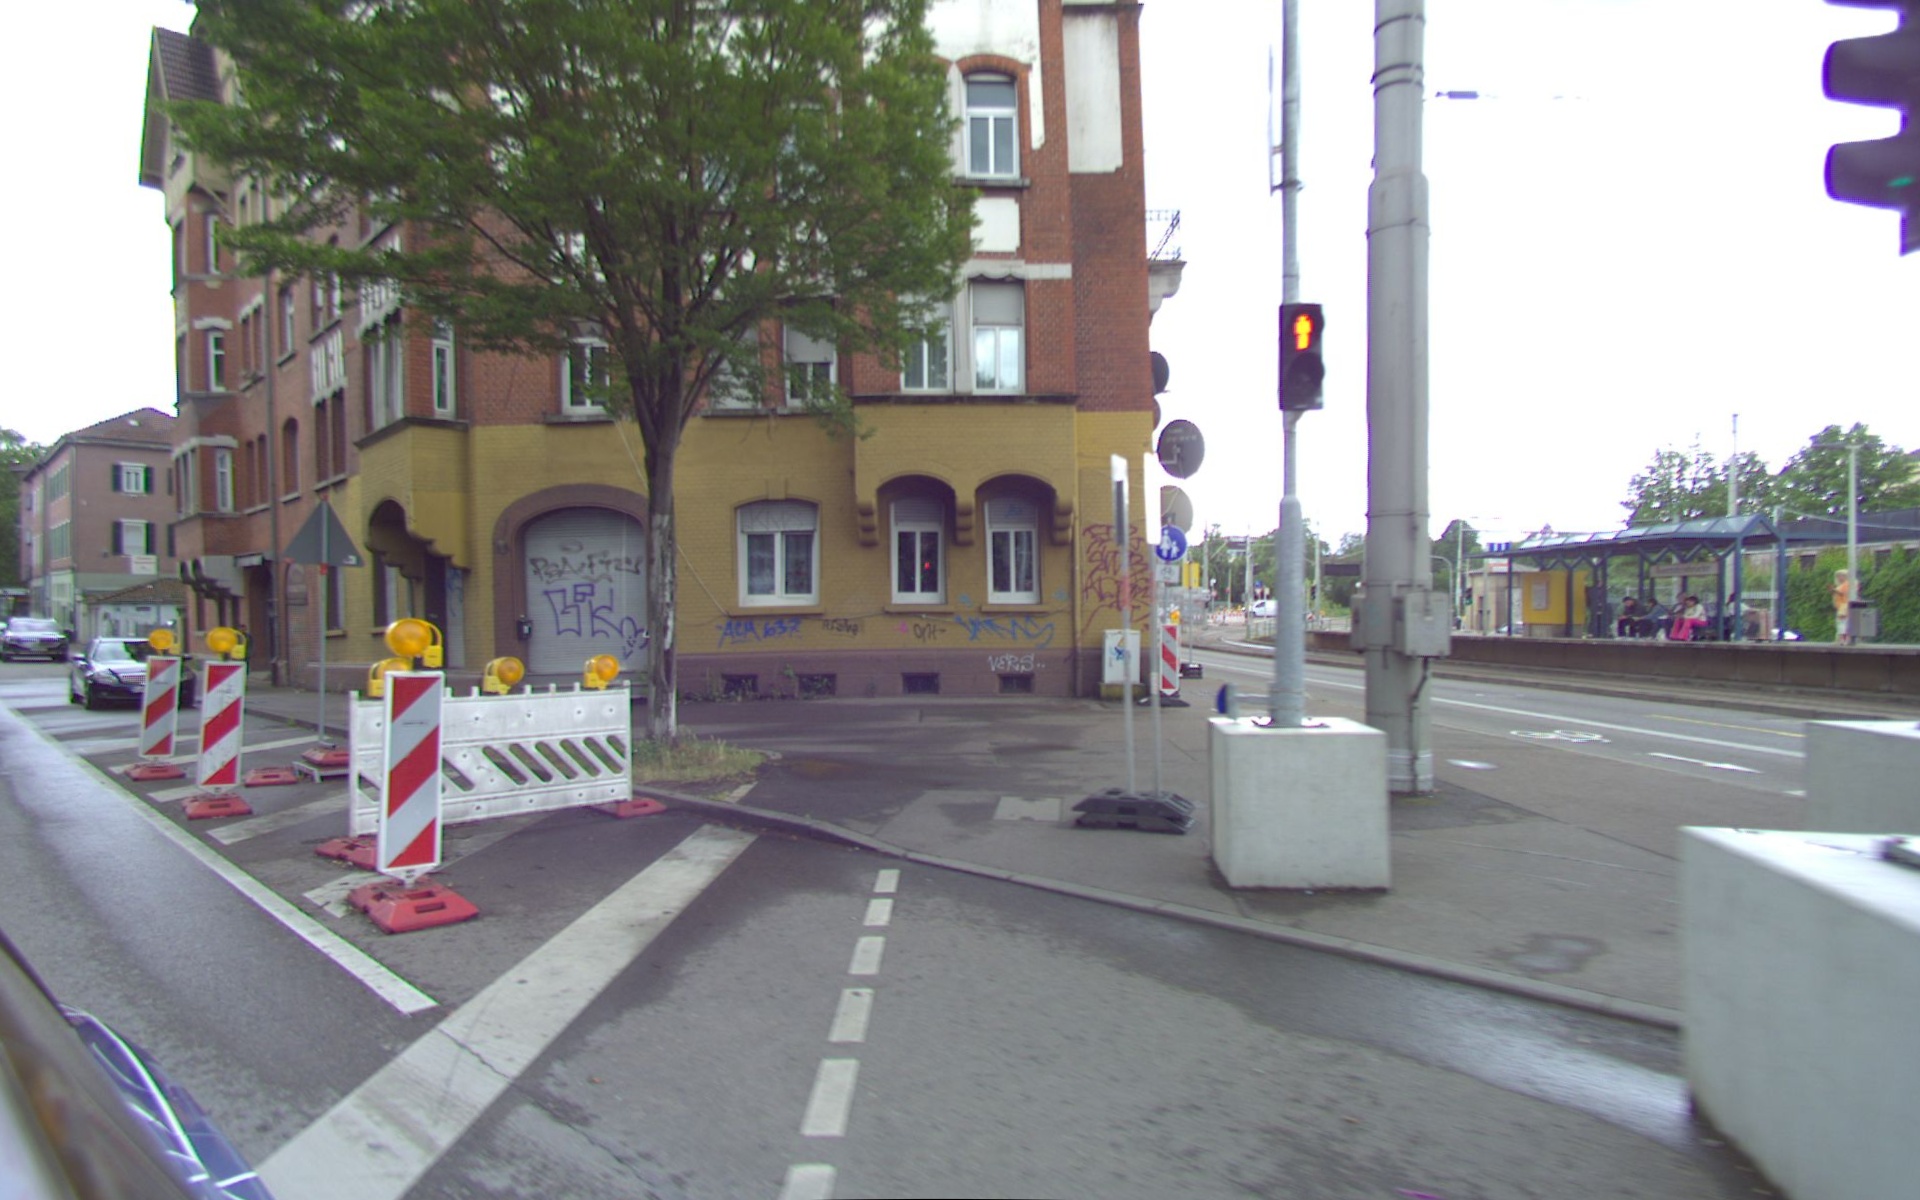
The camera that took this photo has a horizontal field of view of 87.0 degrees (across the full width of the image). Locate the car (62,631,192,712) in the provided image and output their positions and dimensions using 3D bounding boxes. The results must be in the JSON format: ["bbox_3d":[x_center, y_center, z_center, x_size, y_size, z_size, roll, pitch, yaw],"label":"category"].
[{"bbox_3d":[-17.757,1.486,21.500,4.392,1.497,1.705,-4,-2,45],"label":"car"}]

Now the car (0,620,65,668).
[{"bbox_3d":[-36.550,1.686,39.570,4.774,1.747,1.932,-2,-1,44],"label":"car"}]

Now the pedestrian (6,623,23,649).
[{"bbox_3d":[-66.621,2.527,71.296,0.984,1.757,0.753,-3,0,41],"label":"pedestrian"}]

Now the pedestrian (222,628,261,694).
[{"bbox_3d":[-18.245,1.537,25.707,0.632,1.621,0.652,-2,0,44],"label":"pedestrian"}]

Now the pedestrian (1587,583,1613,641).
[{"bbox_3d":[18.436,0.340,29.157,0.587,1.653,0.482,1,-1,-44],"label":"pedestrian"}]

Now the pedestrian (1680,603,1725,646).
[{"bbox_3d":[17.496,0.579,23.859,0.653,0.986,0.514,1,-2,-1],"label":"pedestrian"}]

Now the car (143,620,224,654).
[{"bbox_3d":[-37.142,1.785,48.438,1.854,1.577,2.815,-1,-3,44],"label":"car"}]

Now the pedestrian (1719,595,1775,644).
[{"bbox_3d":[18.688,0.467,24.048,0.810,1.131,0.651,1,0,0],"label":"pedestrian"}]

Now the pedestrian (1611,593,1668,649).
[{"bbox_3d":[17.323,0.522,25.809,0.810,1.383,0.935,1,0,0],"label":"pedestrian"}]

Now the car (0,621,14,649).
[{"bbox_3d":[-56.405,2.038,58.801,4.128,1.497,1.857,0,1,44],"label":"car"}]

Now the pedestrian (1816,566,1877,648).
[{"bbox_3d":[18.688,0.149,21.341,0.767,1.689,0.541,1,-2,-1],"label":"pedestrian"}]

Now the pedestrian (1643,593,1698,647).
[{"bbox_3d":[17.385,0.481,24.775,0.798,1.279,0.773,1,0,0],"label":"pedestrian"}]
